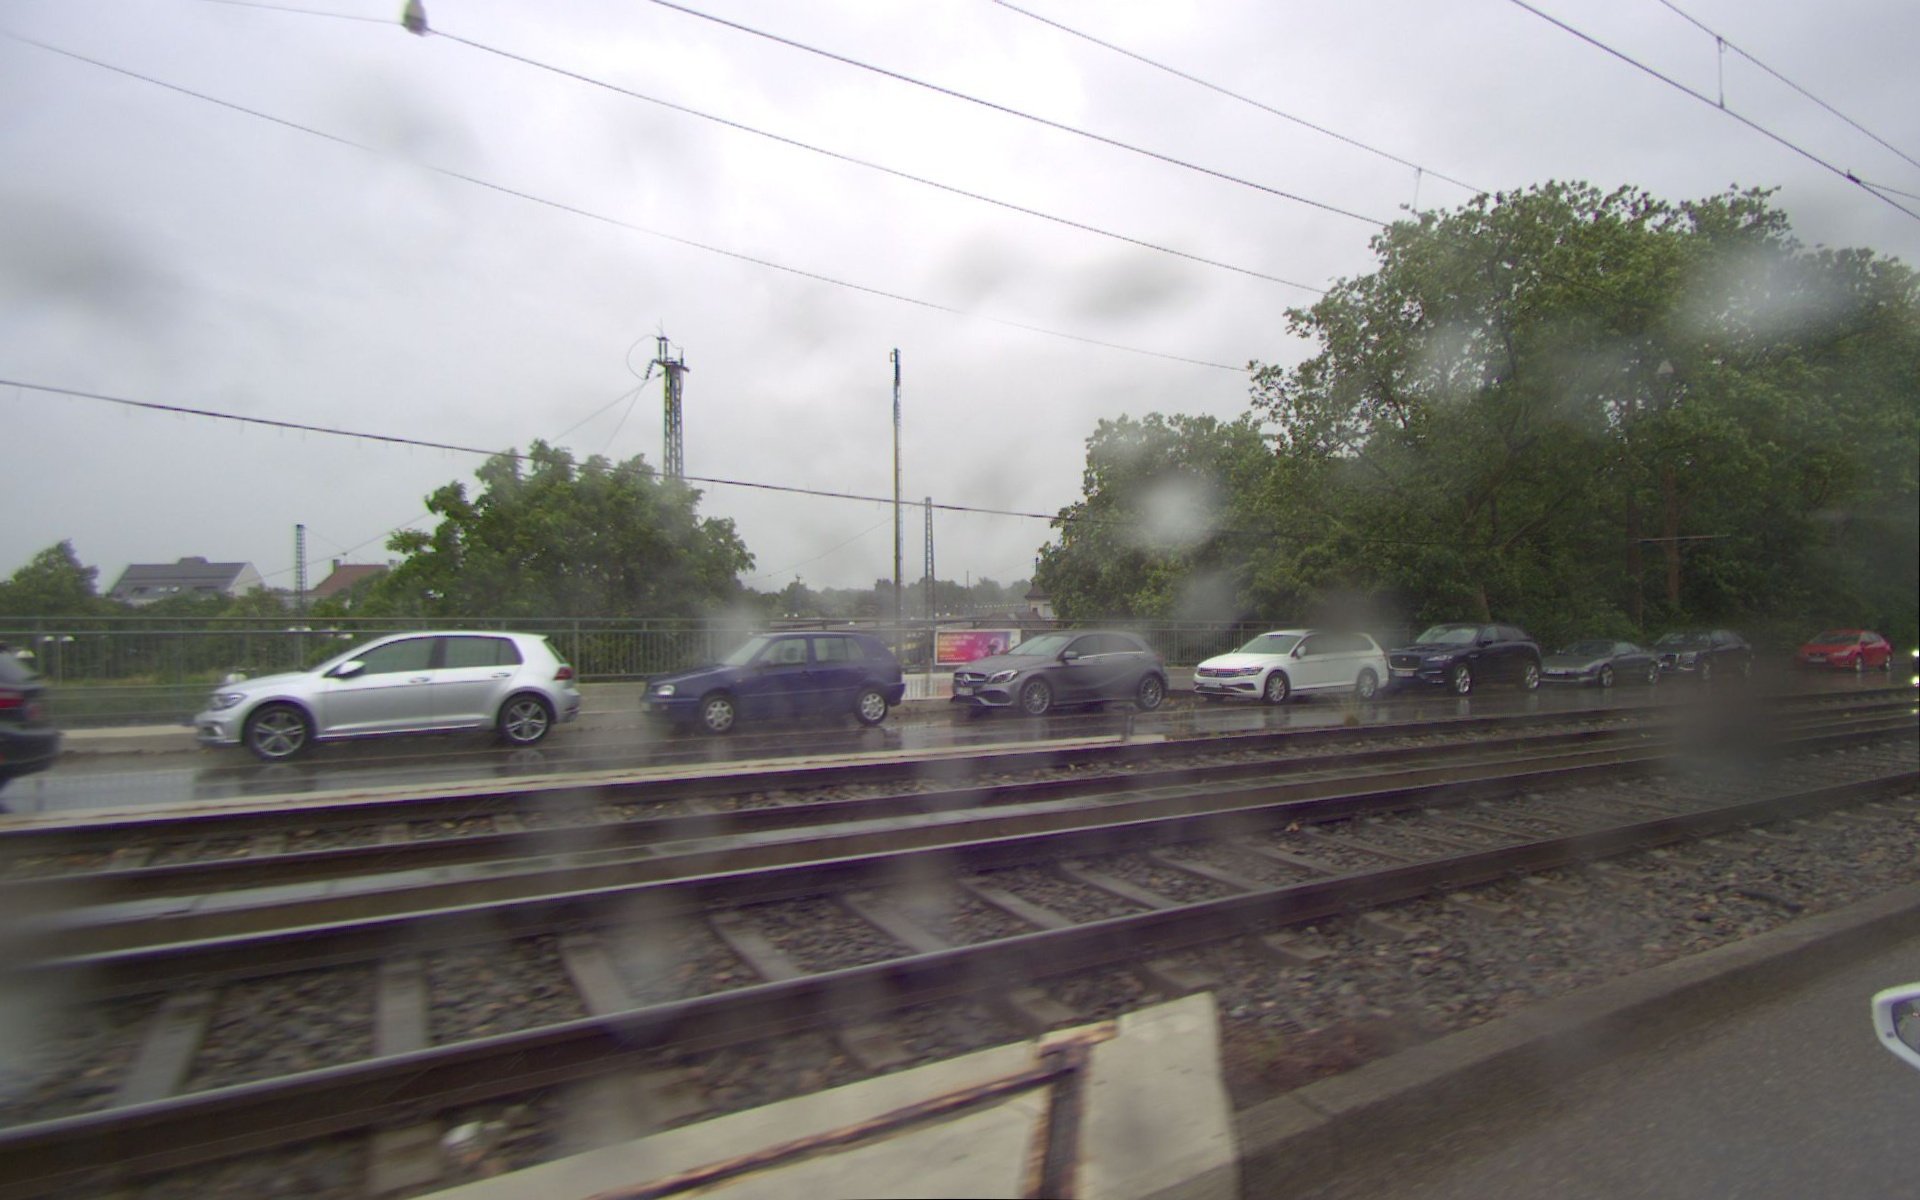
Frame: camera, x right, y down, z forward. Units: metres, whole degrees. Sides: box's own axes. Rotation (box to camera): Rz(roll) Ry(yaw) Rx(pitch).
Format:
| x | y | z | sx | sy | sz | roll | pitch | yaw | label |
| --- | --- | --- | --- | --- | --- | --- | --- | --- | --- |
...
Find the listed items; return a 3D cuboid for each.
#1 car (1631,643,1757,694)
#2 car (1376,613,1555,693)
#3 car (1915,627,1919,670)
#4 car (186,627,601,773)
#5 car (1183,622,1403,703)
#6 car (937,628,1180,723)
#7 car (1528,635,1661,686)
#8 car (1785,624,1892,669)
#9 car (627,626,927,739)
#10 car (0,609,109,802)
| x | y | z | sx | sy | sz | roll | pitch | yaw | label |
| --- | --- | --- | --- | --- | --- | --- | --- | --- | --- |
| 21.872 | 2.006 | 29.886 | 4.046 | 1.309 | 1.499 | -1 | -2 | -30 | car |
| 12.056 | 1.205 | 23.849 | 4.779 | 1.694 | 1.498 | -1 | -2 | -32 | car |
| 34.188 | 1.562 | 33.940 | 4.651 | 1.419 | 1.499 | -1 | -2 | -30 | car |
| -6.964 | 1.146 | 12.712 | 4.270 | 1.475 | 1.854 | -1 | -2 | -32 | car |
| 6.993 | 1.270 | 20.903 | 4.838 | 1.418 | 1.499 | -1 | -5 | -32 | car |
| 1.826 | 1.271 | 17.856 | 4.364 | 1.419 | 1.496 | 0 | -2 | -35 | car |
| 17.110 | 1.603 | 27.054 | 3.669 | 1.188 | 1.499 | -1 | -2 | -31 | car |
| 31.329 | 1.635 | 35.784 | 4.212 | 1.461 | 1.602 | -1 | -2 | -31 | car |
| -2.704 | 1.164 | 15.233 | 4.234 | 1.419 | 1.498 | -1 | -2 | -32 | car |
| -9.204 | 0.909 | 7.325 | 4.213 | 1.387 | 1.807 | -4 | 3 | -30 | car |
